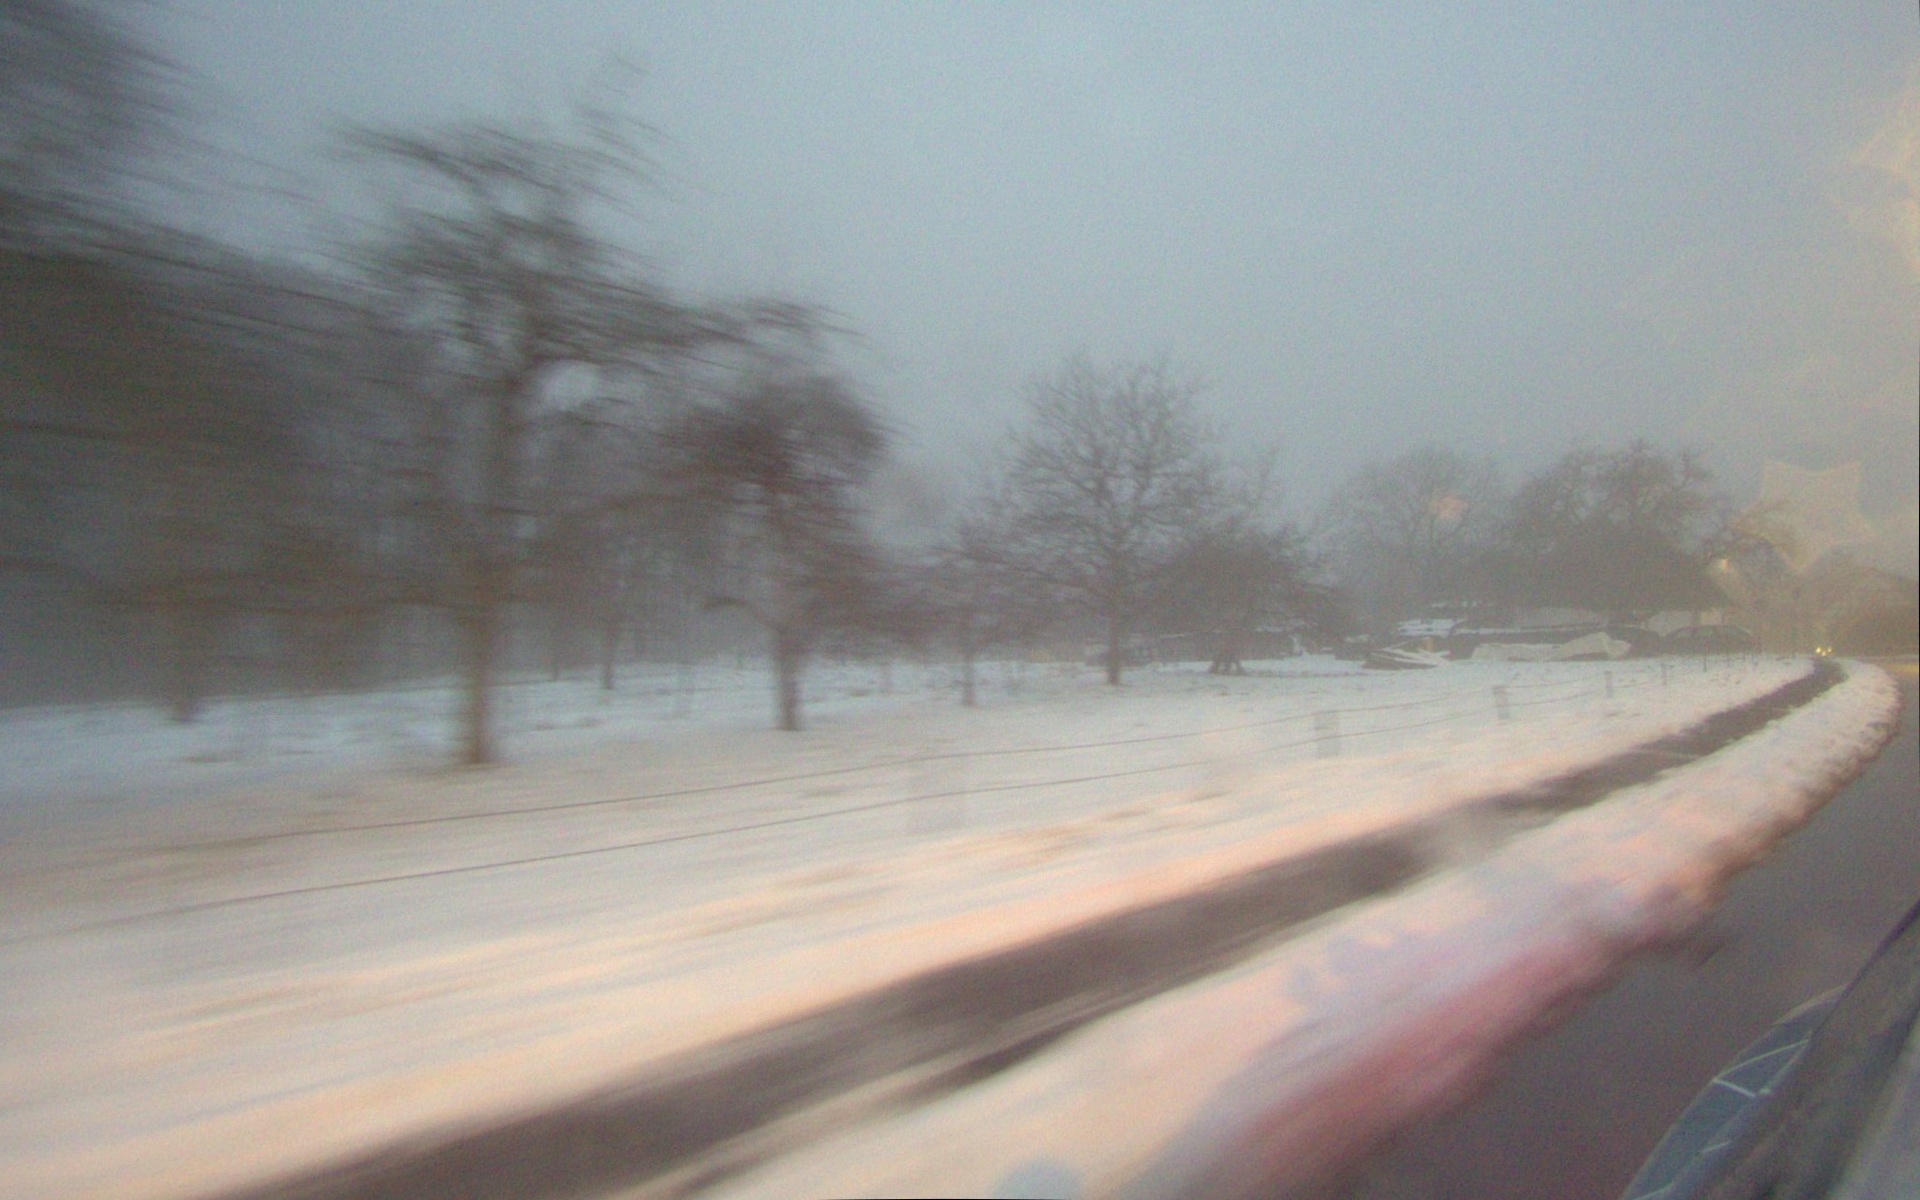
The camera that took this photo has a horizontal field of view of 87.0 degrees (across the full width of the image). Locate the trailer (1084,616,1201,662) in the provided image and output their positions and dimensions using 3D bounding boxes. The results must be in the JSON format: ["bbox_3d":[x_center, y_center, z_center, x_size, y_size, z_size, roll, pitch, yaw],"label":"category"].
[{"bbox_3d":[8.154,1.753,45.426,4.724,1.968,2.196,-2,-3,35],"label":"trailer"}]

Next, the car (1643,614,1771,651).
[{"bbox_3d":[33.334,1.483,45.207,4.441,1.400,2.006,-5,-5,40],"label":"car"}]

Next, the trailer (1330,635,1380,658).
[{"bbox_3d":[19.355,2.254,49.517,1.833,0.958,3.623,2,-1,29],"label":"trailer"}]
